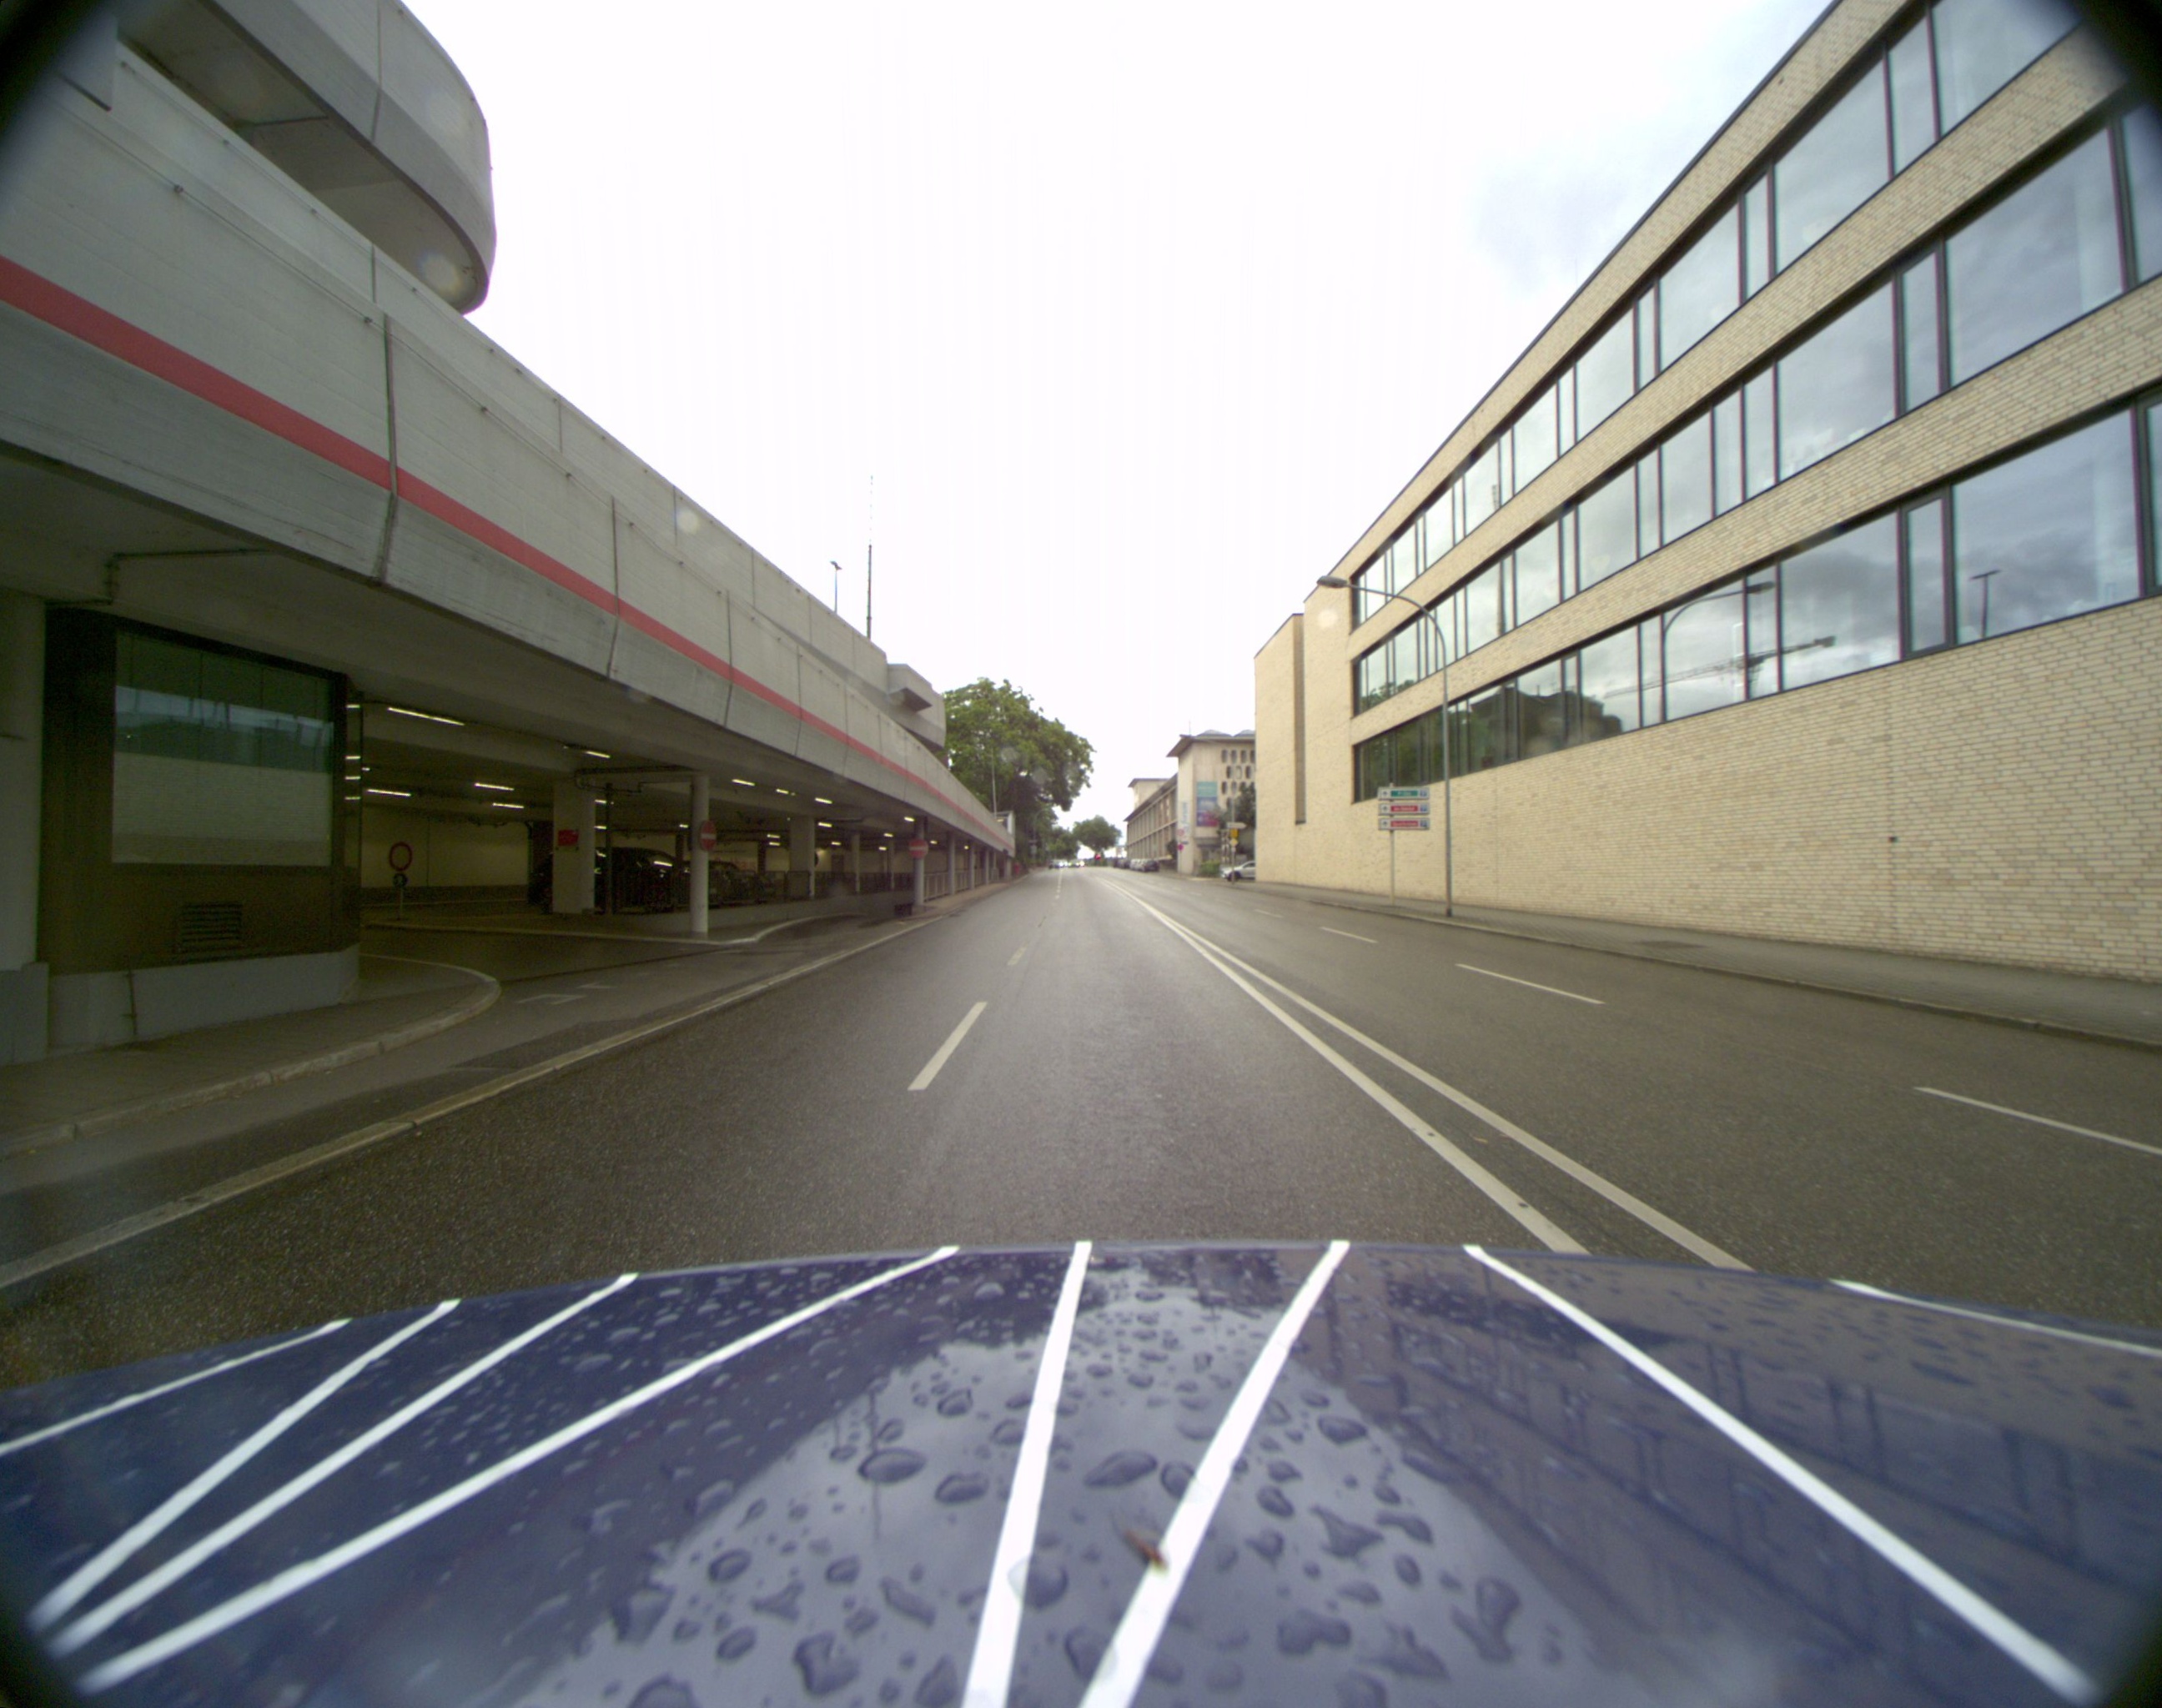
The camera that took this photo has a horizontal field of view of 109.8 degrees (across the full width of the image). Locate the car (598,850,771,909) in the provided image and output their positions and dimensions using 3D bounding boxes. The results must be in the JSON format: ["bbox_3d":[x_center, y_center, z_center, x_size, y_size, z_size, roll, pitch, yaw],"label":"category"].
[{"bbox_3d":[-11.917,0.820,22.987,4.251,1.650,2.003,-1,-4,10],"label":"car"}]

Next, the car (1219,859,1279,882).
[{"bbox_3d":[12.594,1.218,56.973,4.052,1.516,1.802,-2,0,0],"label":"car"}]

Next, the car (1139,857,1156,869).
[{"bbox_3d":[8.472,1.154,96.481,1.800,1.516,4.056,-2,-1,1],"label":"car"}]

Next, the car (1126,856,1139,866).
[{"bbox_3d":[8.255,1.198,121.828,1.800,1.516,4.056,-2,-1,1],"label":"car"}]

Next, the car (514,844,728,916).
[{"bbox_3d":[-11.387,0.696,18.963,4.251,1.650,2.003,-1,-4,10],"label":"car"}]

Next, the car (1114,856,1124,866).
[{"bbox_3d":[7.201,1.223,142.660,1.698,1.715,3.756,-2,1,1],"label":"car"}]

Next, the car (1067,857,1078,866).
[{"bbox_3d":[-1.512,1.380,133.922,1.852,1.516,3.990,-2,-1,1],"label":"car"}]

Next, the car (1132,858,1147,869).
[{"bbox_3d":[8.247,1.308,106.696,1.800,1.516,4.056,-2,-1,1],"label":"car"}]

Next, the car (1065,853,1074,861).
[{"bbox_3d":[-2.567,0.685,169.890,1.727,1.628,3.999,-2,1,1],"label":"car"}]

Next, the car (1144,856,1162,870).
[{"bbox_3d":[8.622,1.092,91.064,1.800,1.516,4.056,-2,-1,1],"label":"car"}]

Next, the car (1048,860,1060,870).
[{"bbox_3d":[-4.310,1.780,121.525,1.683,1.516,3.990,-2,-1,1],"label":"car"}]

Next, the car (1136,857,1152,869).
[{"bbox_3d":[8.359,1.229,101.619,1.800,1.516,4.056,-2,-1,1],"label":"car"}]
